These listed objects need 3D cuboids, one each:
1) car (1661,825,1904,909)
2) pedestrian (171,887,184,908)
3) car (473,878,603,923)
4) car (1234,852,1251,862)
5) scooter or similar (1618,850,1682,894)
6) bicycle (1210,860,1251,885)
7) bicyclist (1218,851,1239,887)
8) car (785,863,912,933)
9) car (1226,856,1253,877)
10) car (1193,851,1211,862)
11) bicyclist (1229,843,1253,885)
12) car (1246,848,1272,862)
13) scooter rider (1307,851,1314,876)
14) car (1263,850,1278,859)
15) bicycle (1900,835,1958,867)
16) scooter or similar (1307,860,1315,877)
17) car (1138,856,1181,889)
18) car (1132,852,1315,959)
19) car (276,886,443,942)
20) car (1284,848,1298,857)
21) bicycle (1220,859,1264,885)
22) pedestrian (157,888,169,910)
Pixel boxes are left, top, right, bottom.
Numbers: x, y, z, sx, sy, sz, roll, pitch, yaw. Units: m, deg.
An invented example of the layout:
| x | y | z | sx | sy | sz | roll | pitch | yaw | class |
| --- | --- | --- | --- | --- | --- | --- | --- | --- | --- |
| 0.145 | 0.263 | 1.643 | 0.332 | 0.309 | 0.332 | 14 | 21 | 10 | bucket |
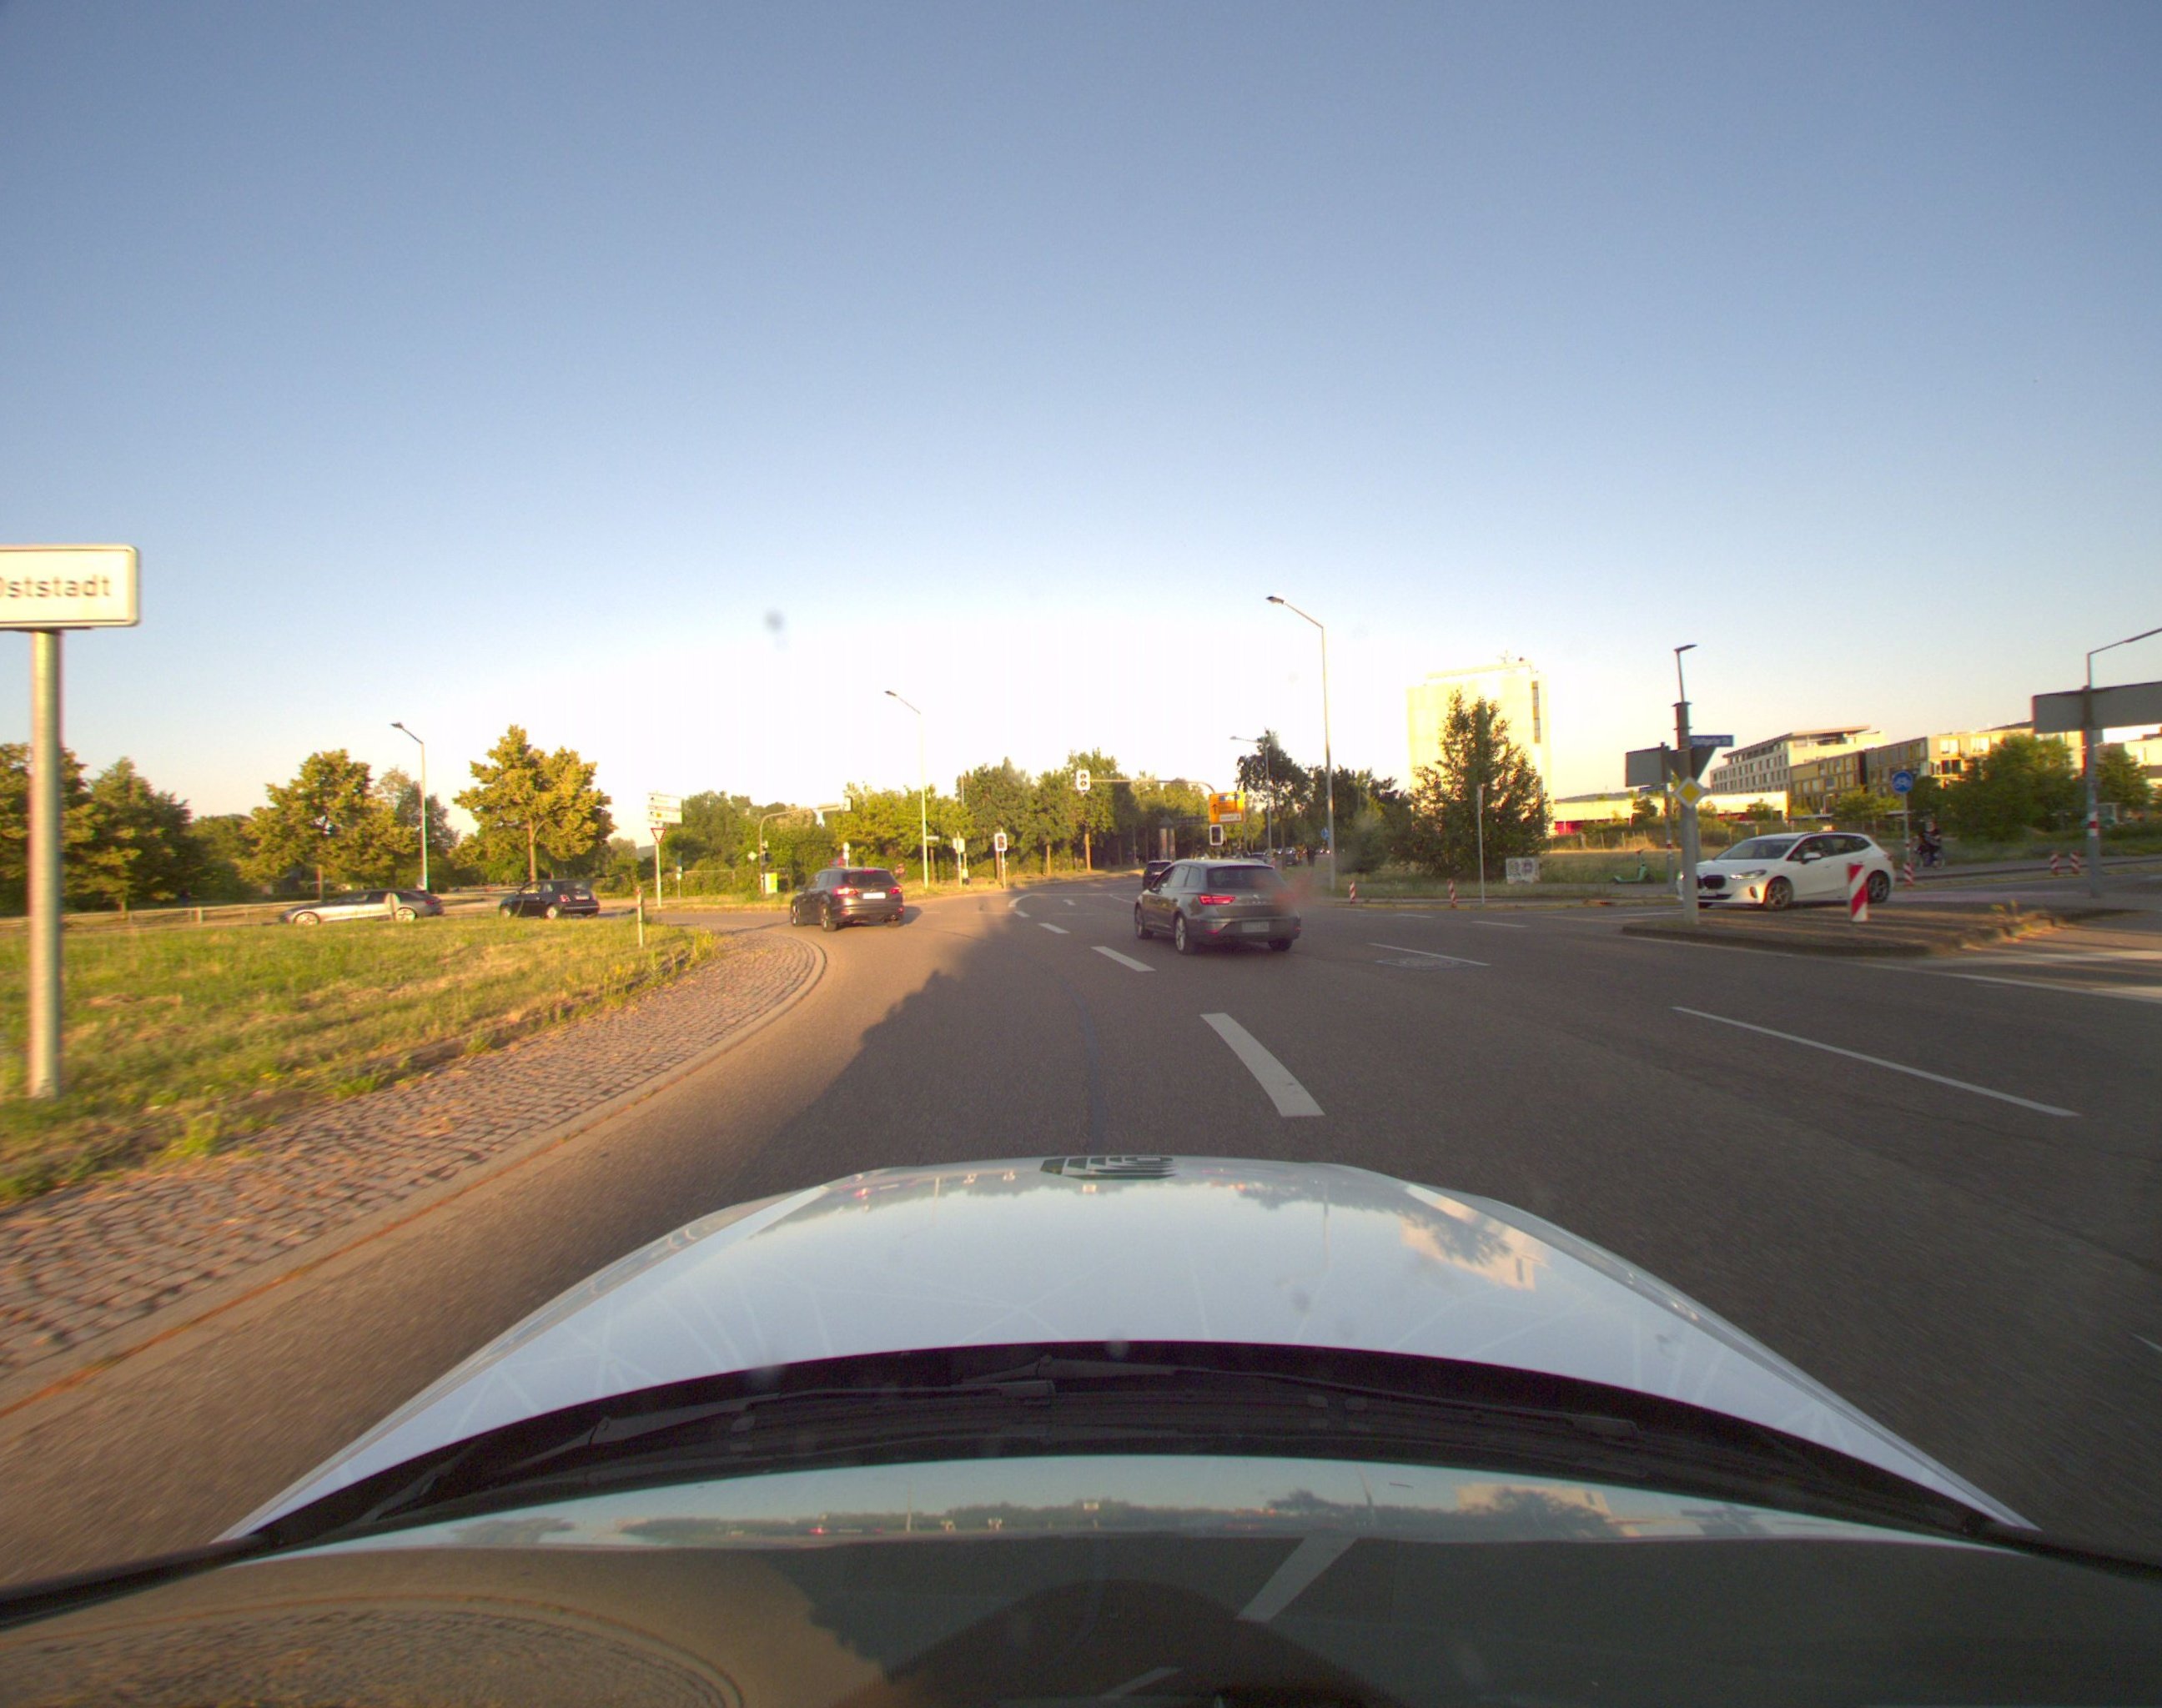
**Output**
| x | y | z | sx | sy | sz | roll | pitch | yaw | class |
| --- | --- | --- | --- | --- | --- | --- | --- | --- | --- |
| 14.905 | 0.253 | 17.378 | 4.087 | 1.558 | 1.882 | -2 | -1 | -14 | car |
| -69.541 | 3.342 | 62.699 | 0.524 | 1.626 | 0.624 | -3 | -1 | 42 | pedestrian |
| -19.501 | 1.657 | 29.273 | 4.086 | 1.446 | 1.760 | -2 | 0 | 20 | car |
| 25.965 | 0.444 | 130.712 | 1.707 | 1.449 | 4.574 | -2 | 0 | 23 | car |
| 15.604 | 0.498 | 22.364 | 0.444 | 1.163 | 1.369 | -2 | 0 | -30 | scooter or similar |
| 7.457 | 0.913 | 40.664 | 1.905 | 1.085 | 0.459 | -5 | -1 | 22 | bicycle |
| 7.369 | 0.750 | 40.700 | 0.761 | 1.702 | 0.645 | -5 | -1 | 21 | bicyclist |
| -5.797 | 1.003 | 19.977 | 1.759 | 1.466 | 4.091 | -2 | 0 | -34 | car |
| 12.142 | 0.932 | 62.223 | 1.733 | 1.488 | 4.152 | -2 | 0 | 15 | car |
| 18.231 | 0.354 | 122.356 | 1.534 | 1.443 | 3.507 | -3 | -1 | 27 | car |
| 7.538 | 0.476 | 38.392 | 0.899 | 1.897 | 0.645 | -4 | -1 | 21 | bicyclist |
| 19.113 | 0.092 | 87.263 | 1.976 | 1.471 | 4.022 | -2 | 0 | 23 | car |
| 12.639 | 0.533 | 44.886 | 0.263 | 1.339 | 0.407 | -2 | 0 | 4 | scooter rider |
| 35.019 | 0.058 | 150.363 | 1.781 | 1.633 | 4.481 | -3 | -1 | 24 | car |
| 29.872 | -0.086 | 28.708 | 0.281 | 1.089 | 1.358 | -2 | 0 | -33 | bicycle |
| 12.676 | 0.813 | 44.900 | 0.245 | 0.914 | 1.040 | -2 | 0 | 5 | scooter or similar |
| 4.171 | 0.941 | 42.646 | 1.801 | 1.525 | 4.147 | -2 | 0 | 11 | car |
| 2.149 | 0.714 | 13.458 | 1.745 | 1.424 | 4.123 | -2 | 0 | -8 | car |
| -27.993 | 2.272 | 31.815 | 4.615 | 1.747 | 1.733 | -2 | 0 | -33 | car |
| 42.833 | -0.254 | 165.974 | 1.899 | 1.754 | 4.948 | -4 | -1 | 22 | car |
| 7.586 | 0.862 | 38.305 | 1.905 | 1.085 | 0.459 | -4 | -1 | 22 | bicycle |
| -69.799 | 3.386 | 61.932 | 0.526 | 1.626 | 0.584 | -3 | -1 | 41 | pedestrian |
